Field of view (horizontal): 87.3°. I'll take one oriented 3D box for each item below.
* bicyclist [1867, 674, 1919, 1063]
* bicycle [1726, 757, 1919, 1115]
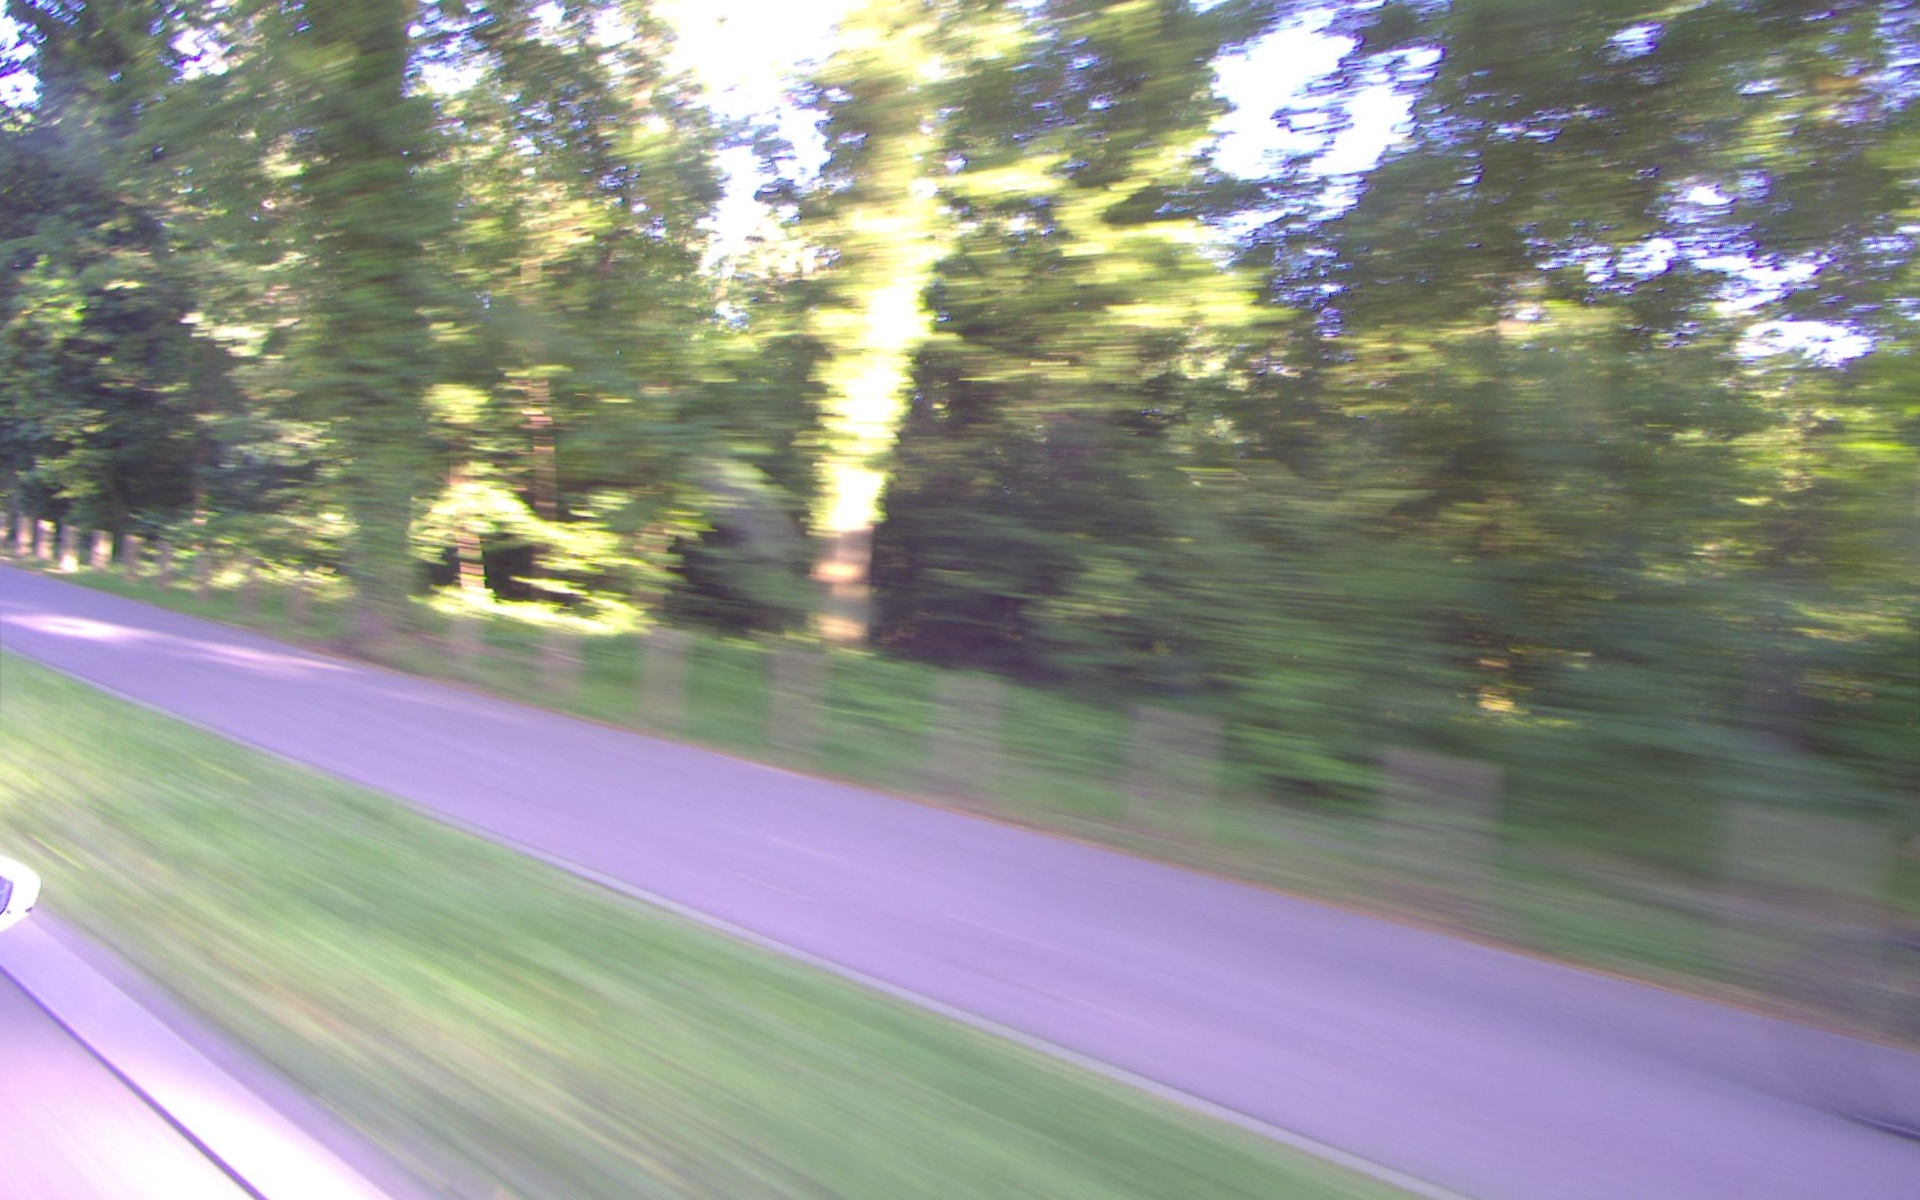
[{"bbox_3d":[3.878,0.962,3.317,1.086,1.304,0.713,7,0,32],"label":"bicyclist"},{"bbox_3d":[3.877,1.244,3.293,2.019,1.068,0.713,7,0,32],"label":"bicycle"}]
